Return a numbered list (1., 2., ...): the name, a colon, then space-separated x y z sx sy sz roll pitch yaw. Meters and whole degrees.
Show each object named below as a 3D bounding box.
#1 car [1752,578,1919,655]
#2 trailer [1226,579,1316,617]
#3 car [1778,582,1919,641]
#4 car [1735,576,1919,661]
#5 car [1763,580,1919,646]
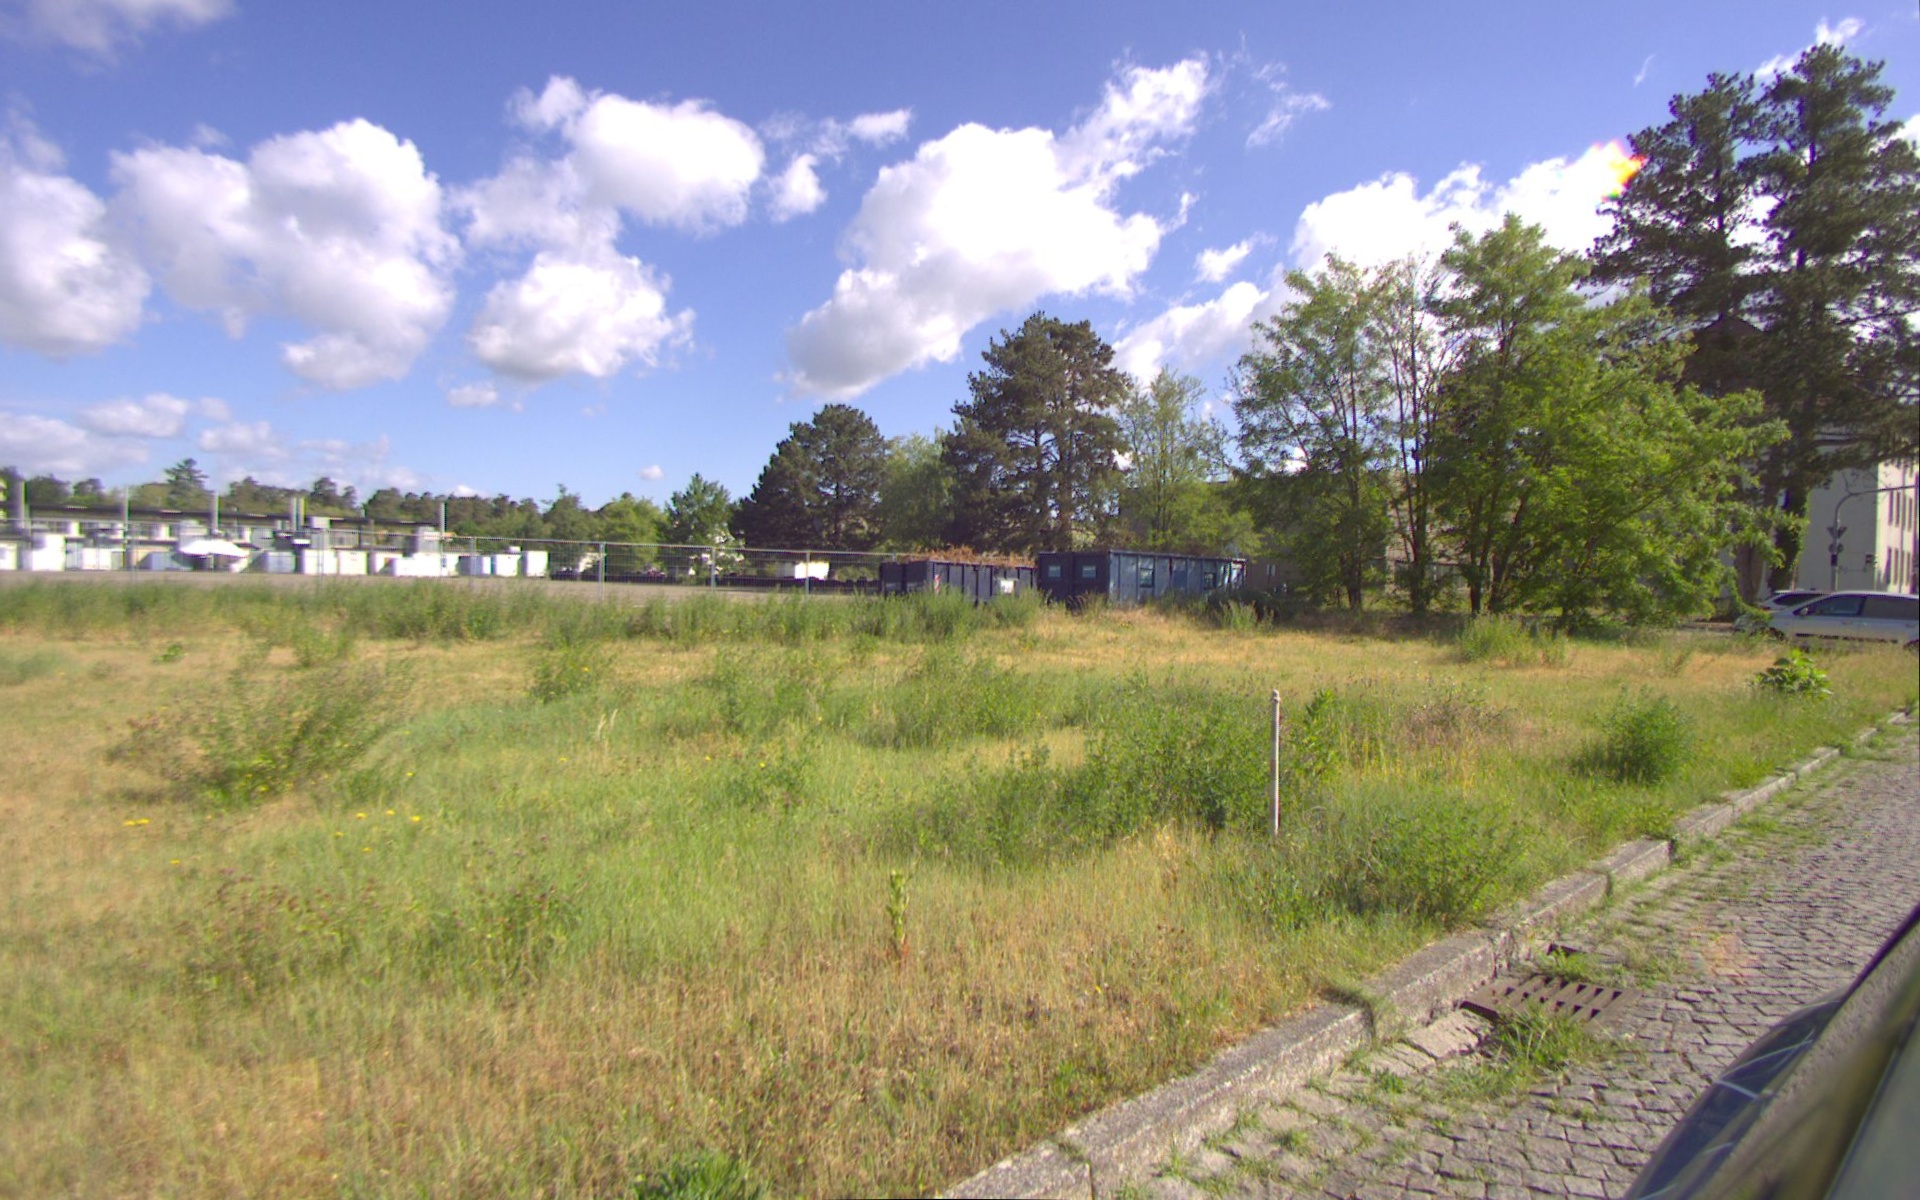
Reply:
1. car: 20.750 0.378 22.986 1.812 1.458 4.013 0 5 -42
2. trailer: 9.381 -0.072 30.600 1.019 1.119 2.401 0 1 -44
3. car: 26.296 0.334 28.673 1.861 1.438 4.547 -1 4 -41
4. car: 18.769 0.363 21.151 1.722 1.494 3.748 0 5 -42
5. car: 24.288 0.350 26.766 1.808 1.482 4.520 -1 5 -43
